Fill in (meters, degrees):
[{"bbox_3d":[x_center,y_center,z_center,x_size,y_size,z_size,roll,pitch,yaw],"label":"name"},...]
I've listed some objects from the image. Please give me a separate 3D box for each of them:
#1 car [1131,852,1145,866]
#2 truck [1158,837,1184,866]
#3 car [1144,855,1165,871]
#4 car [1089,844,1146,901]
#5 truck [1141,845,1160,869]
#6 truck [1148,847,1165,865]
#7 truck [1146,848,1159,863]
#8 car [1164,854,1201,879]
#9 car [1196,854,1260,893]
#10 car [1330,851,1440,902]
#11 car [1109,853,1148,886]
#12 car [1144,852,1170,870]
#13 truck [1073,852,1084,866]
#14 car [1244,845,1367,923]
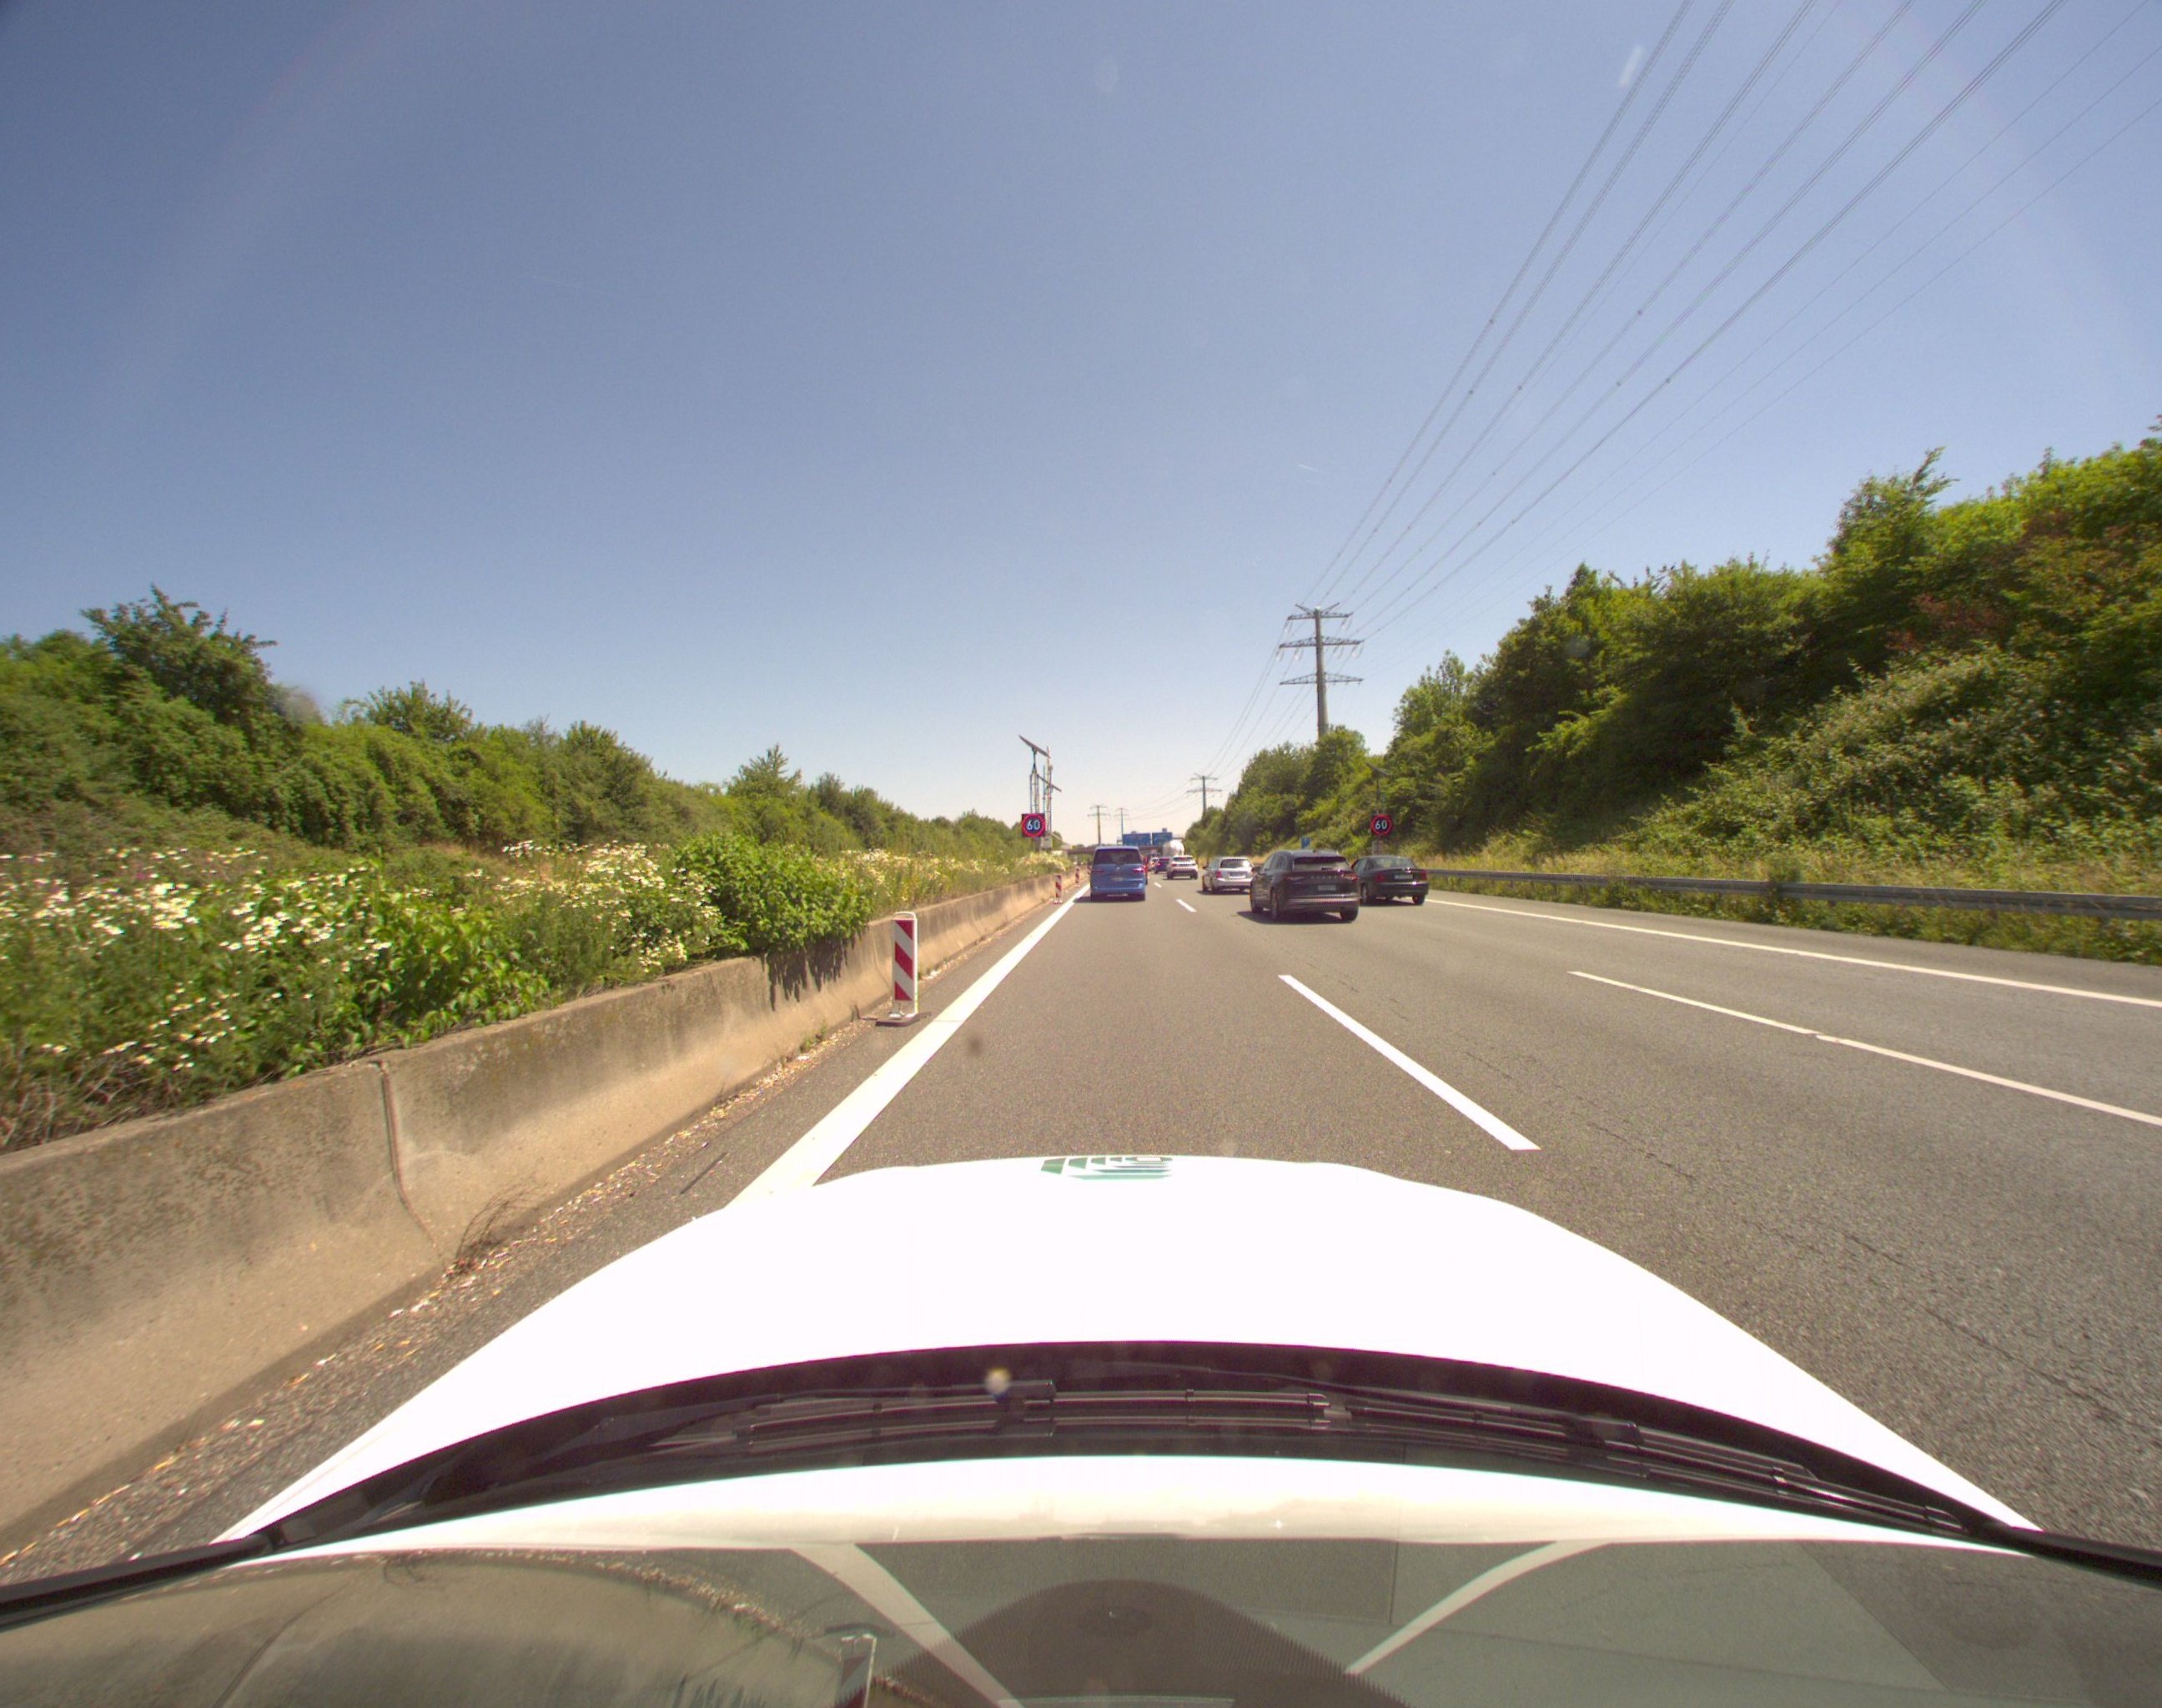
[{"bbox_3d":[9.021,0.783,128.360,1.986,2.014,4.001,0,0,1],"label":"car"},{"bbox_3d":[13.443,-0.297,123.036,2.635,4.072,16.446,0,0,2],"label":"truck"},{"bbox_3d":[7.558,0.904,84.109,1.902,1.516,4.384,0,0,1],"label":"car"},{"bbox_3d":[1.219,0.616,29.125,1.865,1.879,4.383,0,0,0],"label":"car"},{"bbox_3d":[8.370,0.368,98.768,1.986,2.723,5.682,0,0,2],"label":"truck"},{"bbox_3d":[15.317,0.425,166.764,2.635,3.539,12.555,0,0,2],"label":"truck"},{"bbox_3d":[21.034,0.537,240.863,2.927,4.291,12.555,0,0,2],"label":"truck"},{"bbox_3d":[6.565,0.790,53.013,1.902,1.508,3.922,0,0,1],"label":"car"},{"bbox_3d":[5.796,0.727,32.622,1.815,1.437,4.384,0,0,1],"label":"car"},{"bbox_3d":[8.925,0.625,24.320,1.728,1.378,4.302,0,0,1],"label":"car"},{"bbox_3d":[2.510,0.793,44.026,1.901,1.631,4.385,-1,0,1],"label":"car"},{"bbox_3d":[6.562,0.625,71.056,1.902,1.516,4.384,0,0,1],"label":"car"},{"bbox_3d":[-0.835,1.572,248.650,2.752,3.888,9.033,-4,0,2],"label":"truck"},{"bbox_3d":[5.185,0.629,19.426,1.821,1.614,4.432,-1,0,2],"label":"car"}]
